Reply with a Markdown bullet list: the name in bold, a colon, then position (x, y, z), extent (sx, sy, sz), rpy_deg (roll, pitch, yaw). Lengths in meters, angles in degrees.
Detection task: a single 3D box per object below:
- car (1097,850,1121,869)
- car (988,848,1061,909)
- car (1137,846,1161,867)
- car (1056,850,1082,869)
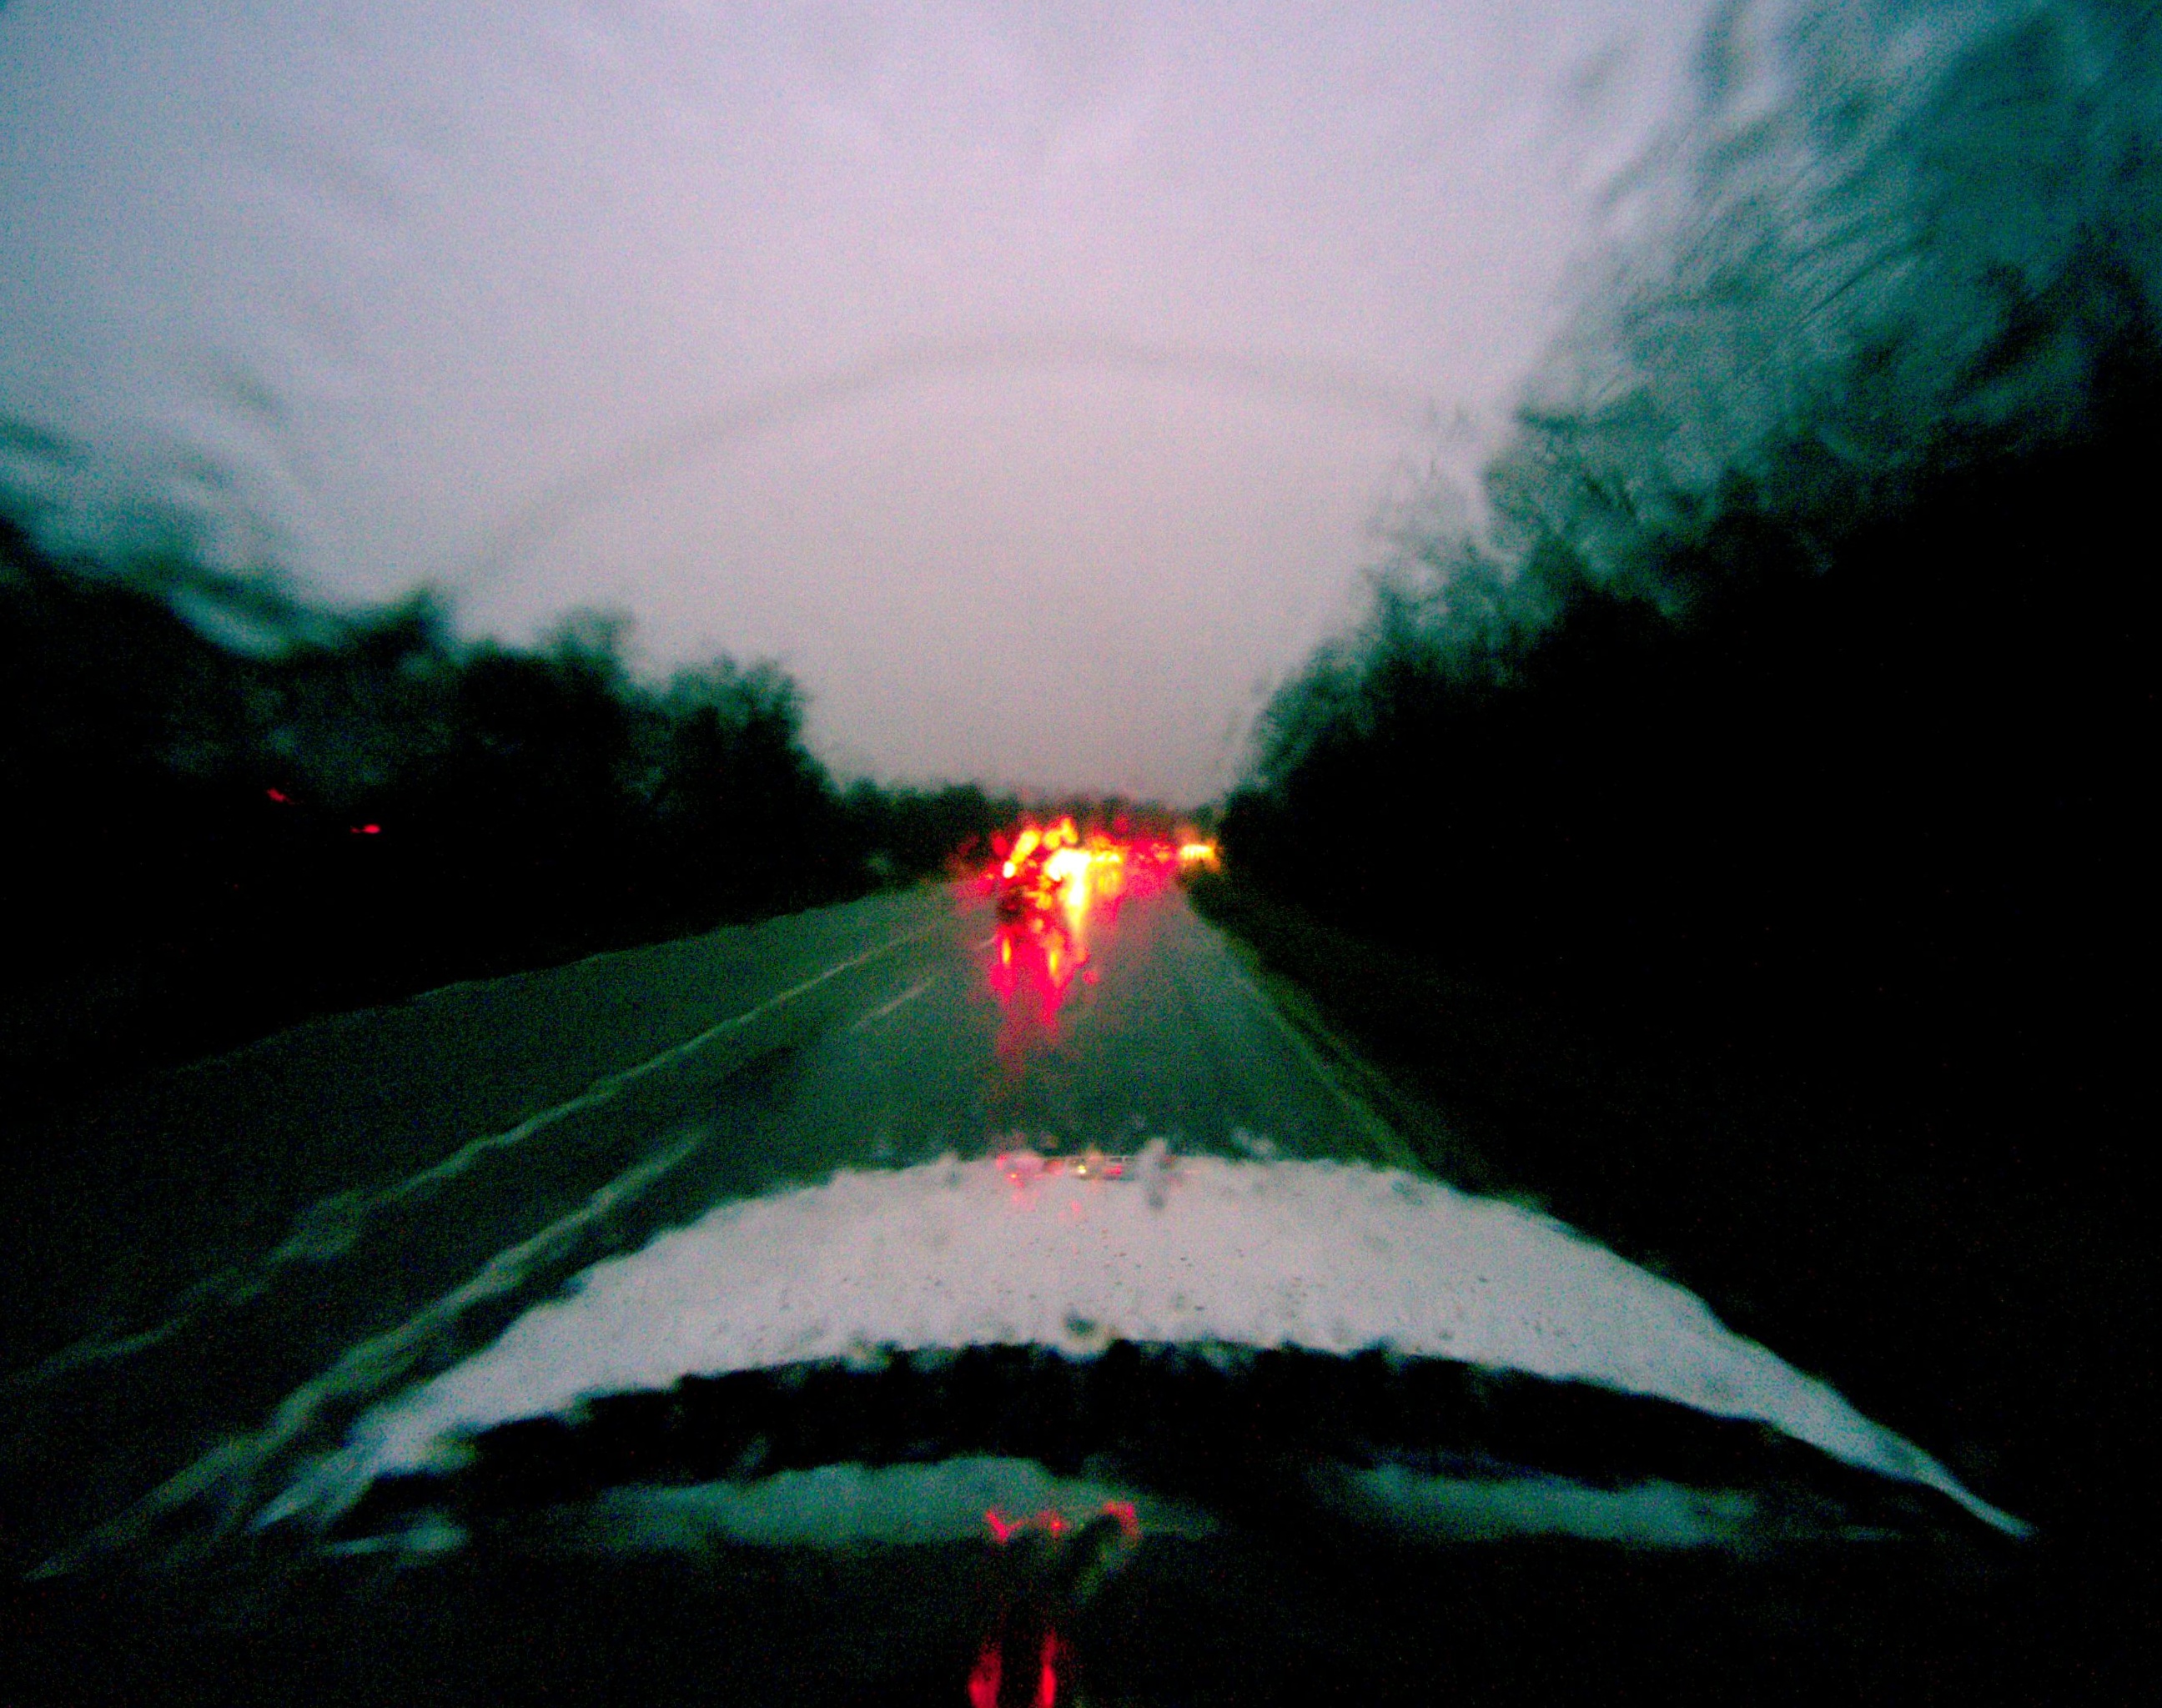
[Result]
- **car**: position (2.534, 0.490, 72.685), extent (1.996, 1.556, 4.522), rpy_deg (1, 1, 4)
- **car**: position (-1.410, 0.579, 21.738), extent (1.627, 1.421, 4.171), rpy_deg (1, 0, 0)
- **car**: position (4.925, 0.174, 59.210), extent (1.671, 1.389, 4.104), rpy_deg (-1, 1, 5)
- **car**: position (-1.100, 0.495, 75.419), extent (1.984, 1.648, 4.728), rpy_deg (0, 0, 4)
